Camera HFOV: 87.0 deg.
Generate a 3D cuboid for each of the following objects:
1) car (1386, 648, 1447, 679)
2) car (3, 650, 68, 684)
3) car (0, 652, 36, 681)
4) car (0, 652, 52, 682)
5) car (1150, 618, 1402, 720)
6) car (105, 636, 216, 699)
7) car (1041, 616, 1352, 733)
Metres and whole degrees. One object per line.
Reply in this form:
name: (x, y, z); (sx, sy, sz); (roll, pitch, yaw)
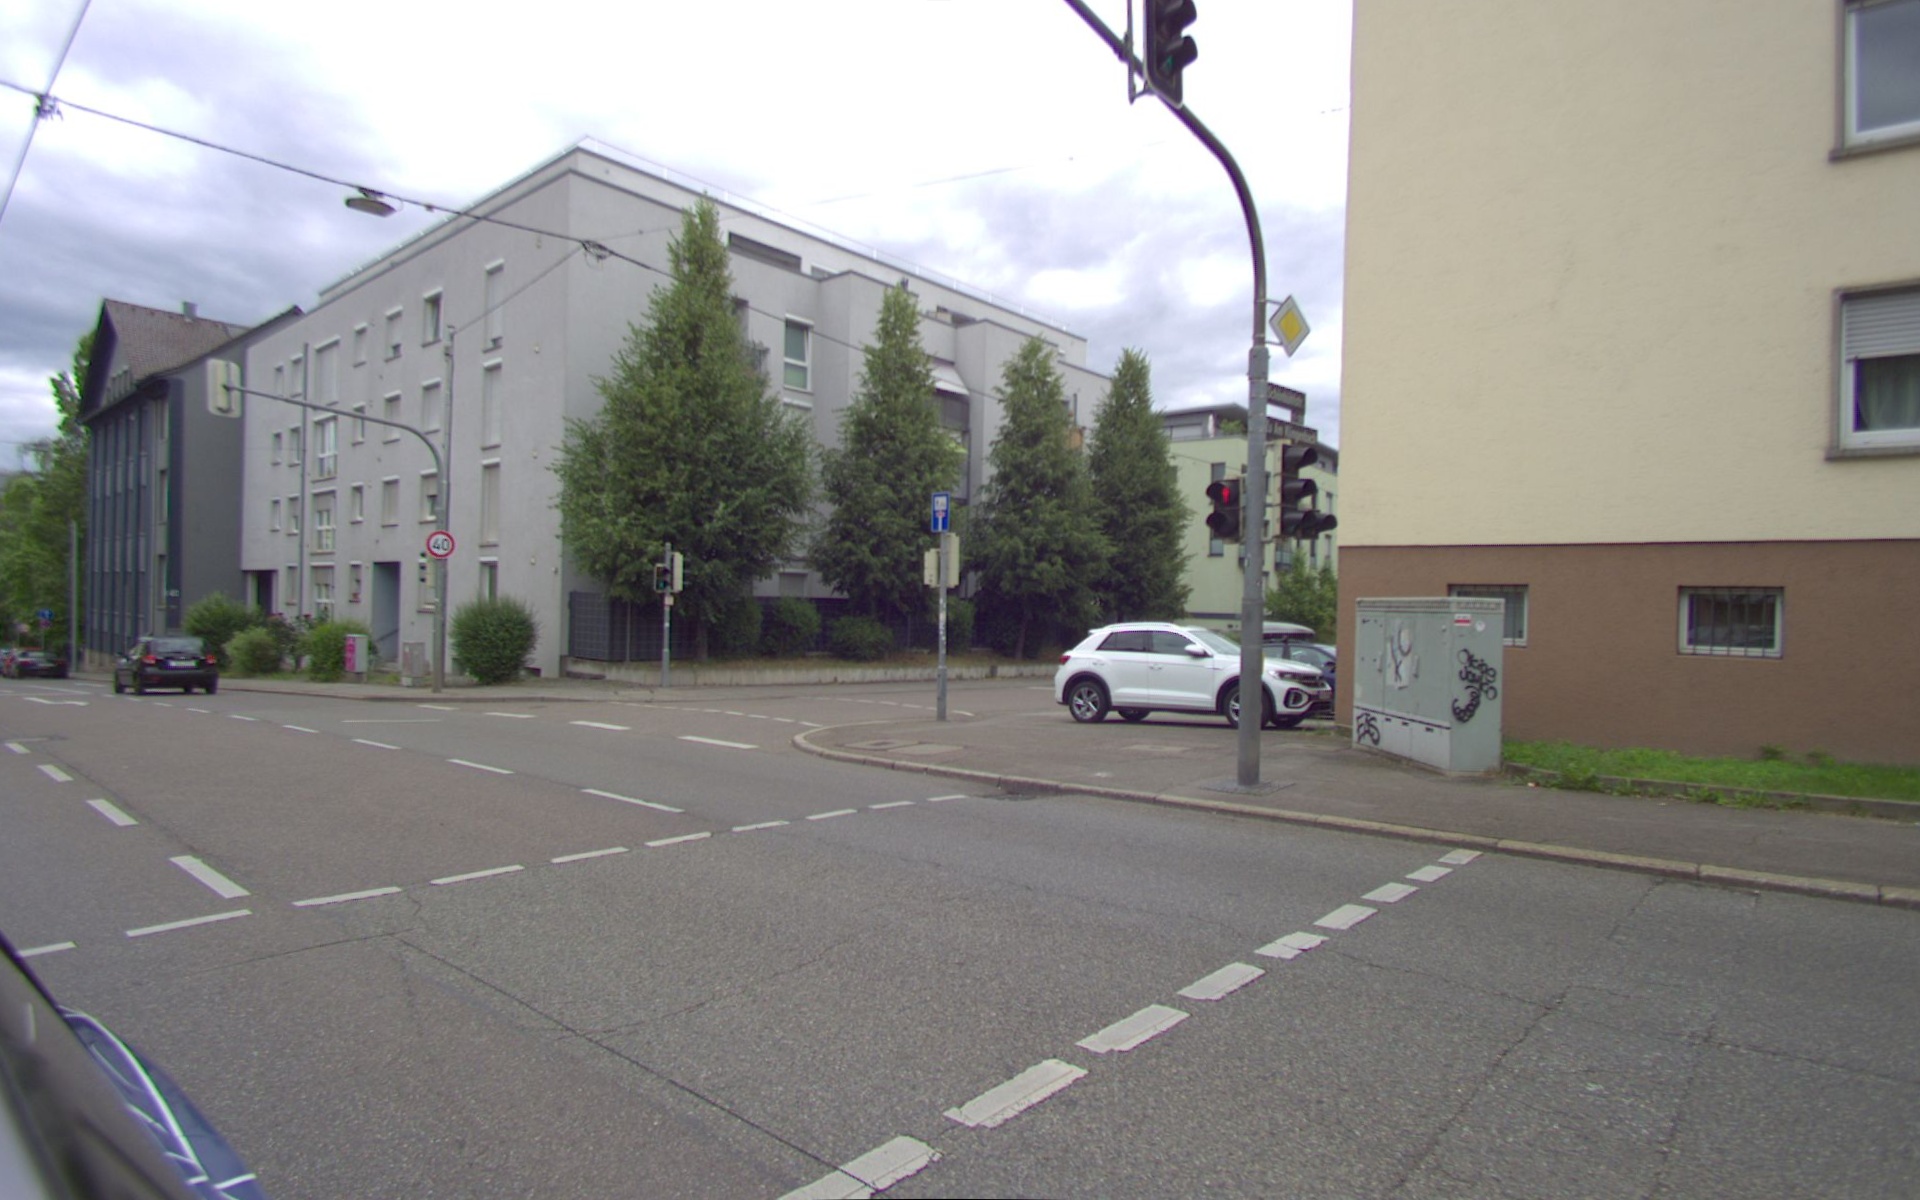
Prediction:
car: (25.103, 3.457, 55.571); (1.999, 1.597, 3.945); (-2, -3, 41)
car: (-42.233, 3.018, 46.213); (3.999, 1.420, 1.776); (-2, -3, 42)
car: (-50.777, 3.530, 53.962); (3.999, 1.420, 1.776); (-2, -3, 42)
car: (-46.685, 3.309, 50.366); (3.999, 1.420, 1.776); (-2, -3, 42)
car: (6.104, 1.353, 19.764); (4.253, 1.772, 1.975); (-3, -5, 37)
car: (-20.229, 1.667, 25.568); (3.614, 1.475, 1.570); (-2, -3, 42)
car: (3.526, 1.129, 15.487); (4.253, 1.549, 1.797); (-3, -5, 37)
